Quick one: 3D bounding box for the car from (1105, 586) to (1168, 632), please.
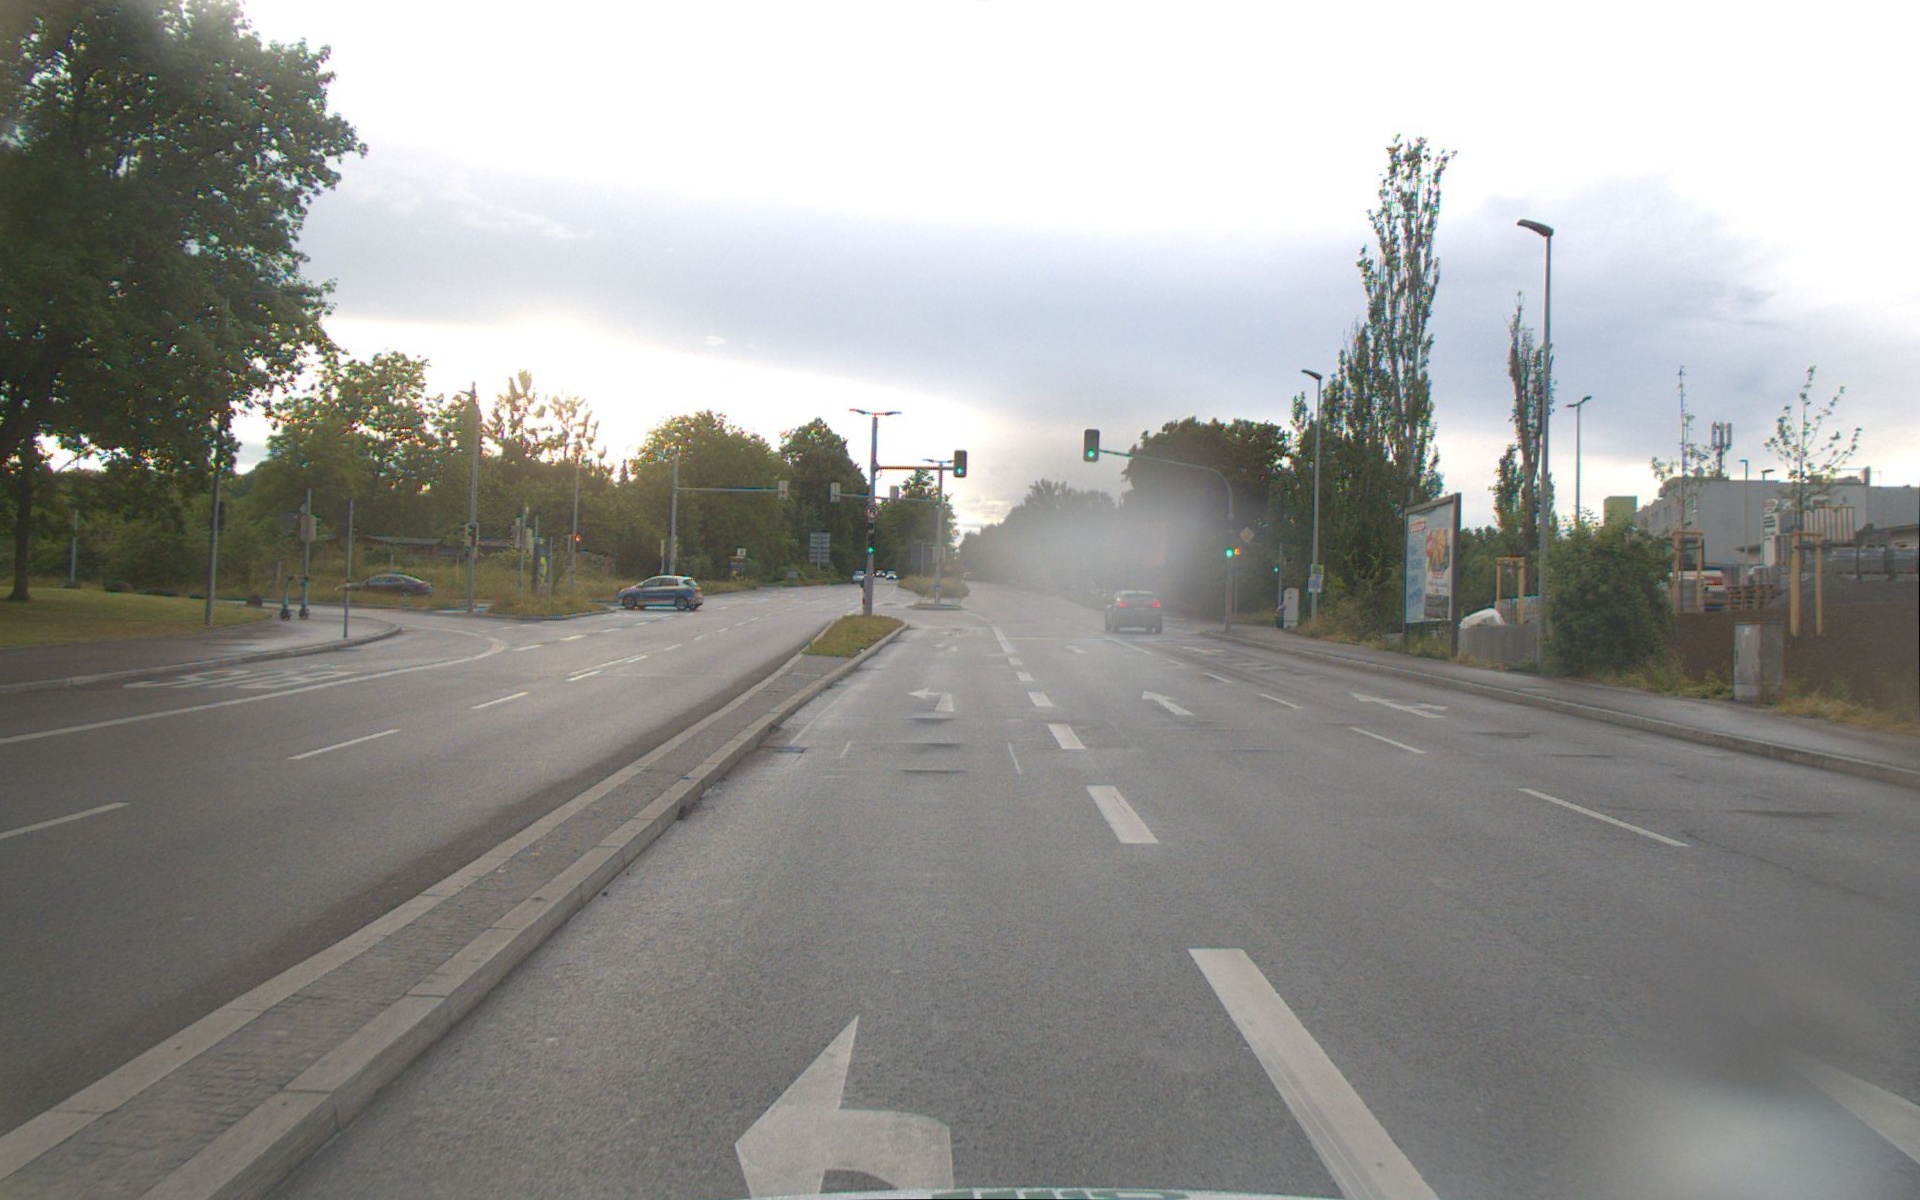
[{"bbox_3d":[6.234,0.283,58.768,1.709,1.495,4.166,2,1,-1],"label":"car"}]

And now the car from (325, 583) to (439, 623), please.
[{"bbox_3d":[-27.211,0.152,77.966,4.559,1.610,2.170,3,-1,-6],"label":"car"}]

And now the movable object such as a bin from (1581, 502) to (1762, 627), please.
[{"bbox_3d":[20.375,-1.022,47.689,2.258,3.333,5.416,2,1,-8],"label":"movable object such as a bin"}]

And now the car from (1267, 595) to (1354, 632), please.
[{"bbox_3d":[14.995,0.586,70.665,1.720,1.495,4.138,3,1,43],"label":"car"}]

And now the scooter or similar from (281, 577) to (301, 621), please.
[{"bbox_3d":[-19.199,-0.032,47.492,0.306,1.239,1.303,1,1,-14],"label":"scooter or similar"}]

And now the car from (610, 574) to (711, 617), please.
[{"bbox_3d":[-13.908,-0.195,76.898,4.096,1.748,2.084,3,-1,10],"label":"car"}]

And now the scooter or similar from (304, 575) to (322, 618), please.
[{"bbox_3d":[-19.236,-0.105,49.188,0.306,1.239,1.303,1,1,-13],"label":"scooter or similar"}]

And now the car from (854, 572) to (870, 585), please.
[{"bbox_3d":[-12.677,-2.777,213.966,1.733,1.623,4.488,2,1,-1],"label":"car"}]
